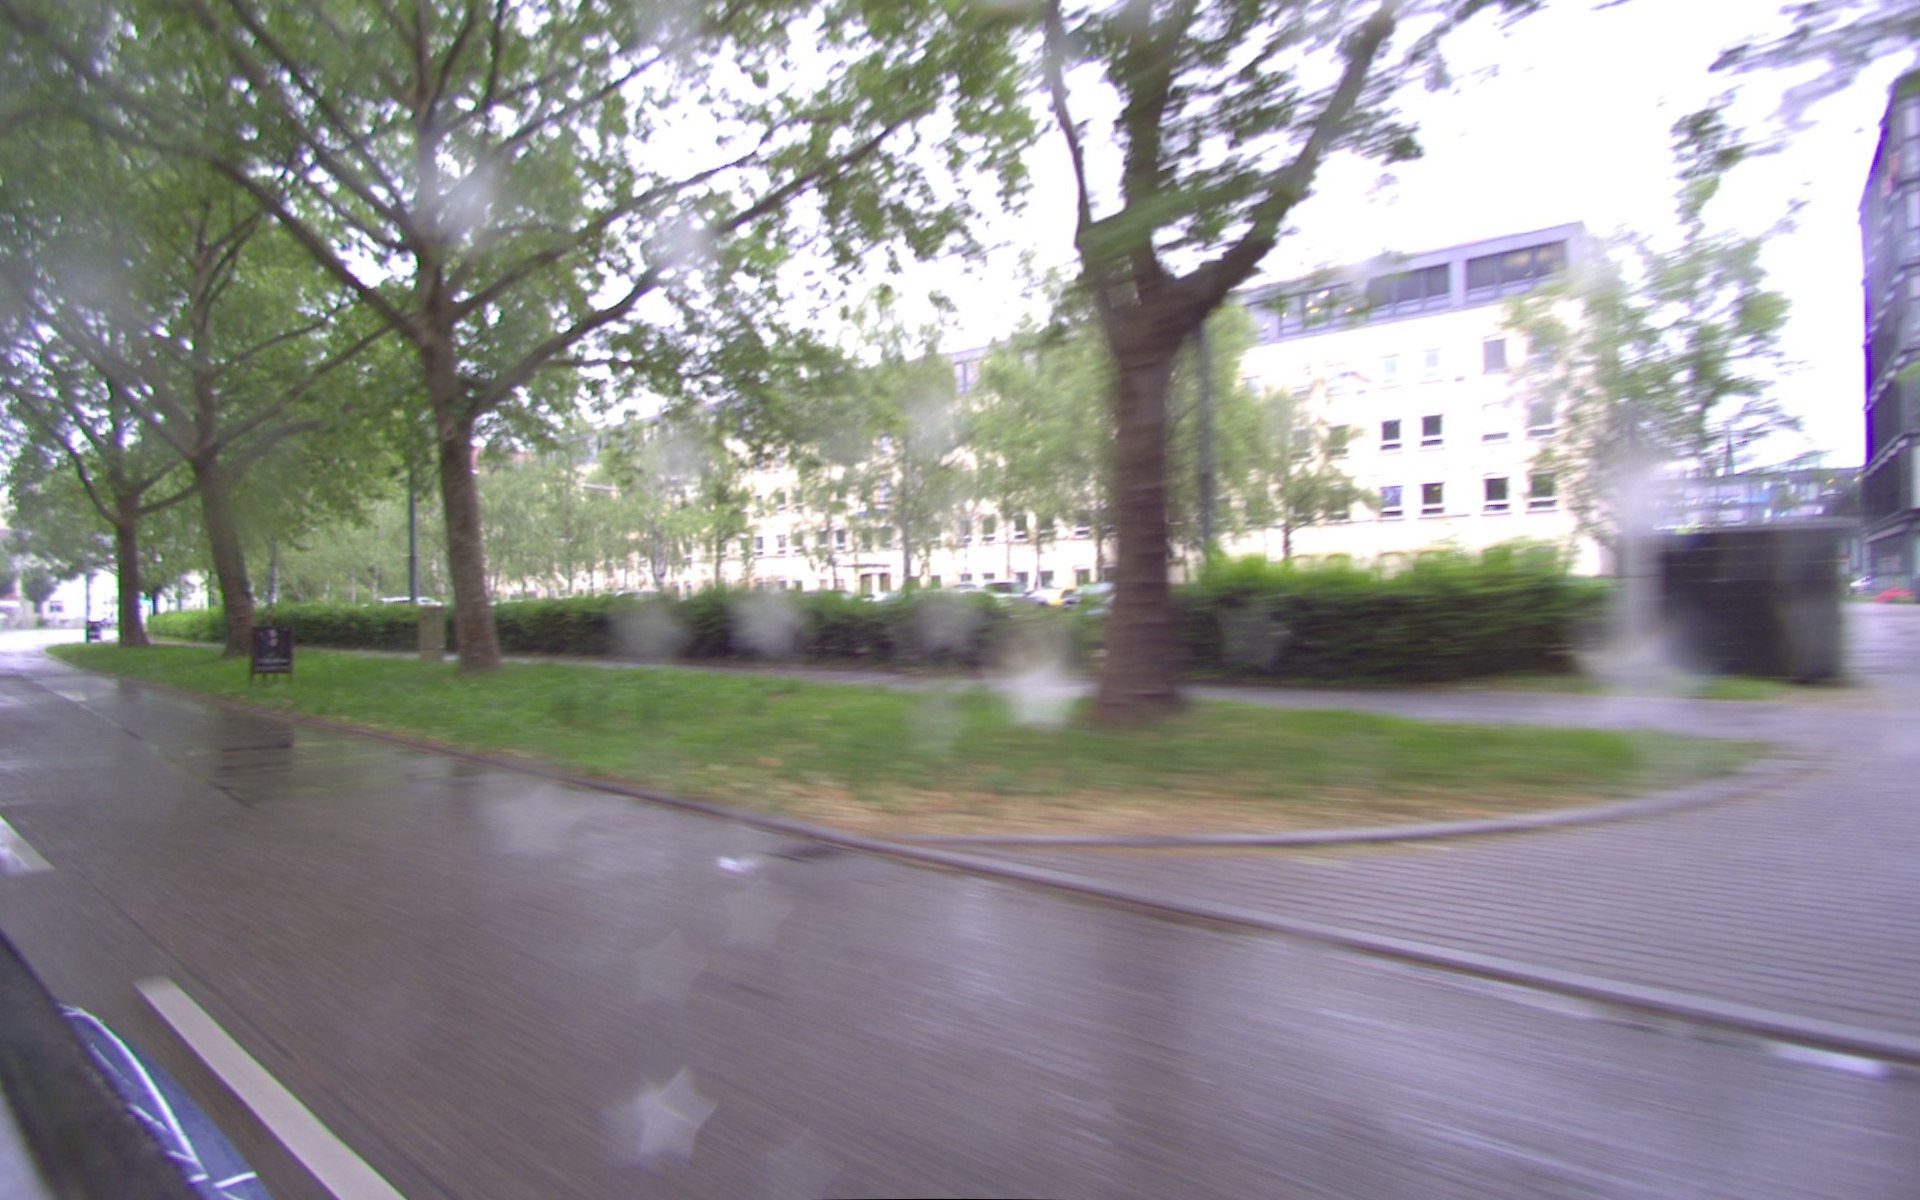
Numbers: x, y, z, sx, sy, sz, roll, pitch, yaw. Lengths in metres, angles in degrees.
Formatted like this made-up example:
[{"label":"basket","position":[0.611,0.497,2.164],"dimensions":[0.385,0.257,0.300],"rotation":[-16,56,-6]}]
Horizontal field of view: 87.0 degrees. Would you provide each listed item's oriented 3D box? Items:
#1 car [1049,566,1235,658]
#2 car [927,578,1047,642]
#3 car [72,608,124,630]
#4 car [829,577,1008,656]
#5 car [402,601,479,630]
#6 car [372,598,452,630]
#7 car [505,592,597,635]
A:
[{"label":"car","position":[3.642,0.286,19.779],"dimensions":[1.997,1.606,3.949],"rotation":[-2,-3,38]},{"label":"car","position":[0.977,0.324,34.441],"dimensions":[2.000,2.029,3.944],"rotation":[-1,-1,42]},{"label":"car","position":[-97.279,2.090,114.262],"dimensions":[2.160,2.272,4.894],"rotation":[-2,1,-9]},{"label":"car","position":[-0.849,0.417,22.820],"dimensions":[1.997,1.606,3.949],"rotation":[-2,-3,38]},{"label":"car","position":[-31.639,0.926,61.685],"dimensions":[1.716,1.611,3.771],"rotation":[-2,1,37]},{"label":"car","position":[-34.252,0.853,63.280],"dimensions":[1.851,1.846,3.950],"rotation":[-2,1,37]},{"label":"car","position":[-21.113,0.675,52.364],"dimensions":[1.999,2.149,3.945],"rotation":[-2,-1,42]}]
